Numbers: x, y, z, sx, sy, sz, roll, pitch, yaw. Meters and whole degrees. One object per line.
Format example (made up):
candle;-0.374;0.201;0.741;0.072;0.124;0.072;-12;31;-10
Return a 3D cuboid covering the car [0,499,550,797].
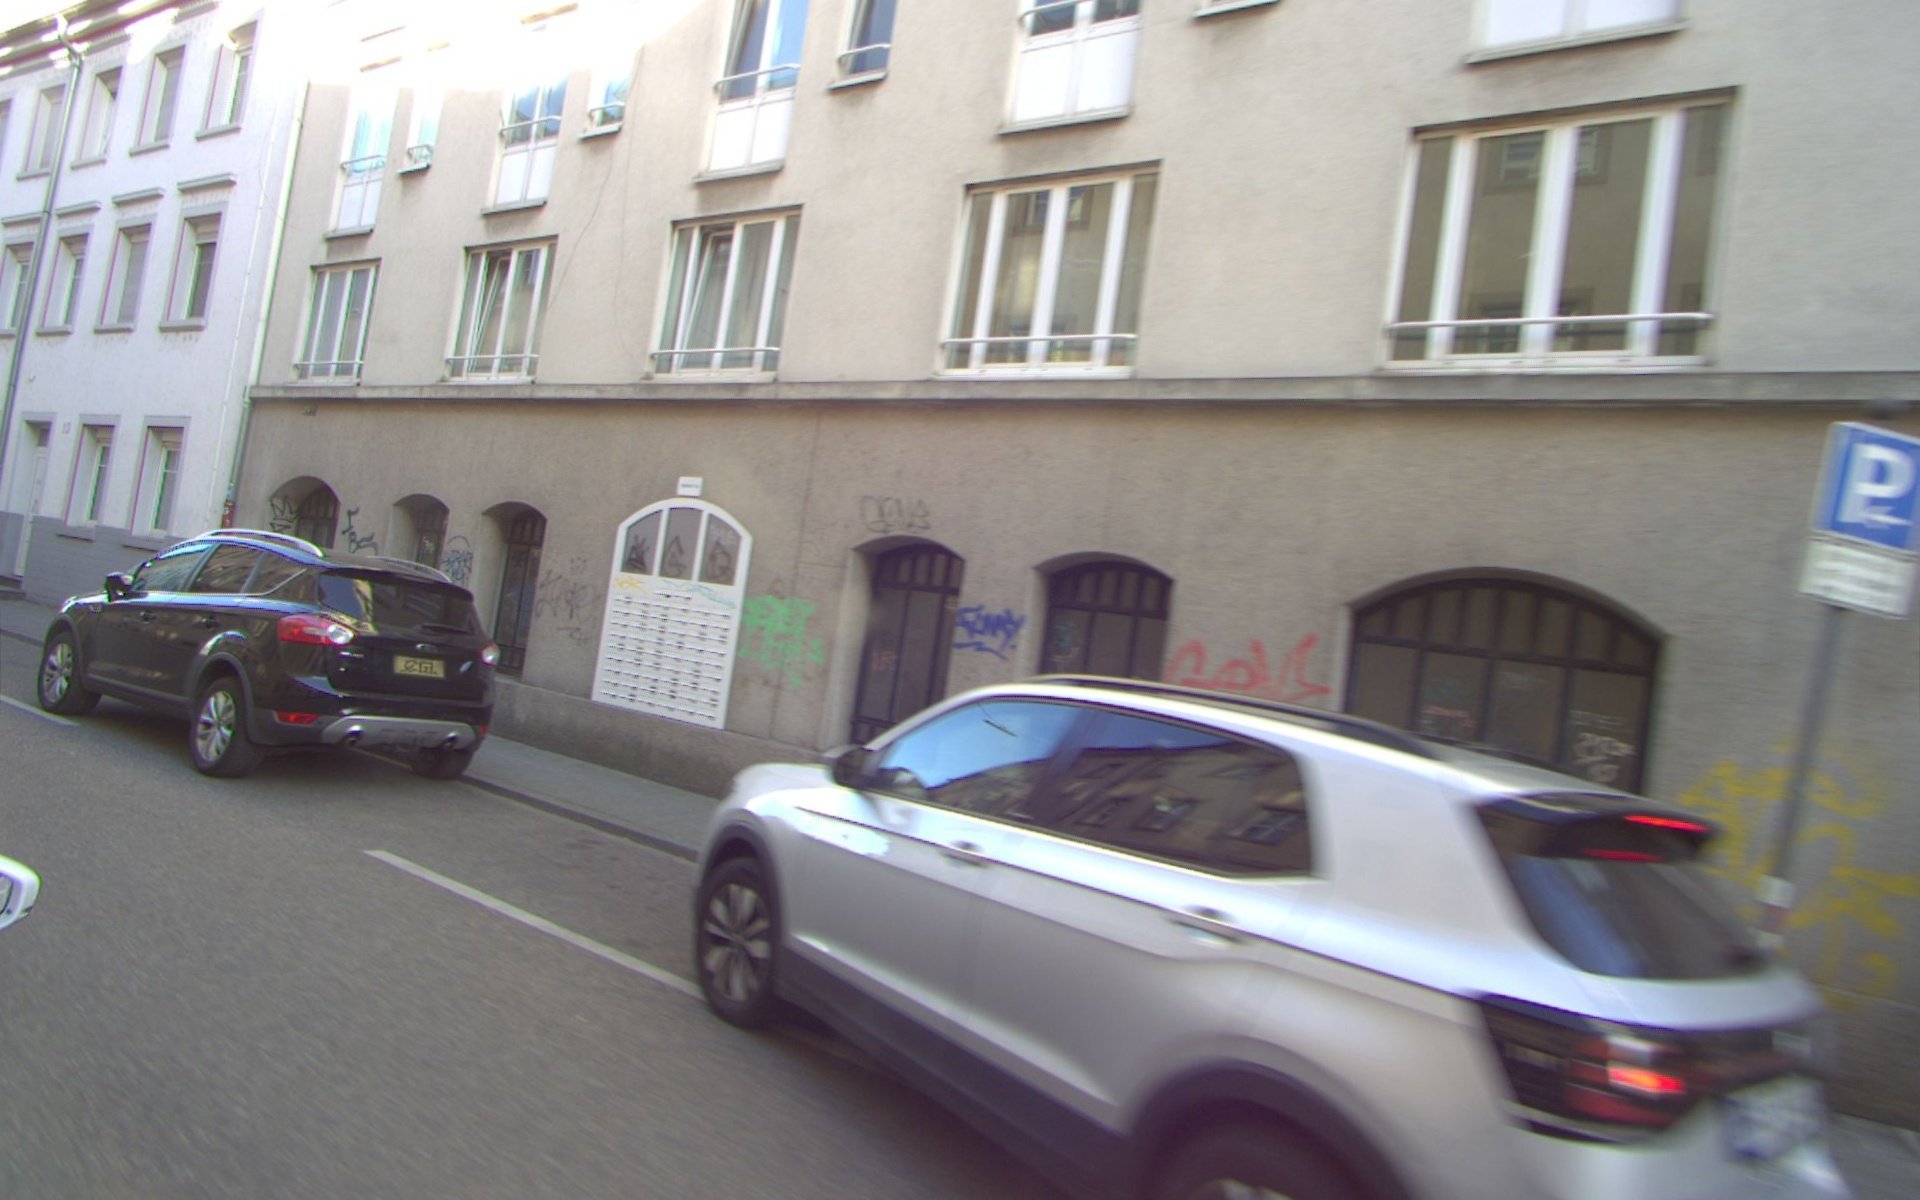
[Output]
car;-5.691;0.320;8.230;4.418;1.671;1.832;7;-5;31

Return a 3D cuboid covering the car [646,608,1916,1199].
car;0.558;1.045;3.671;1.819;1.574;3.947;12;-5;-37
